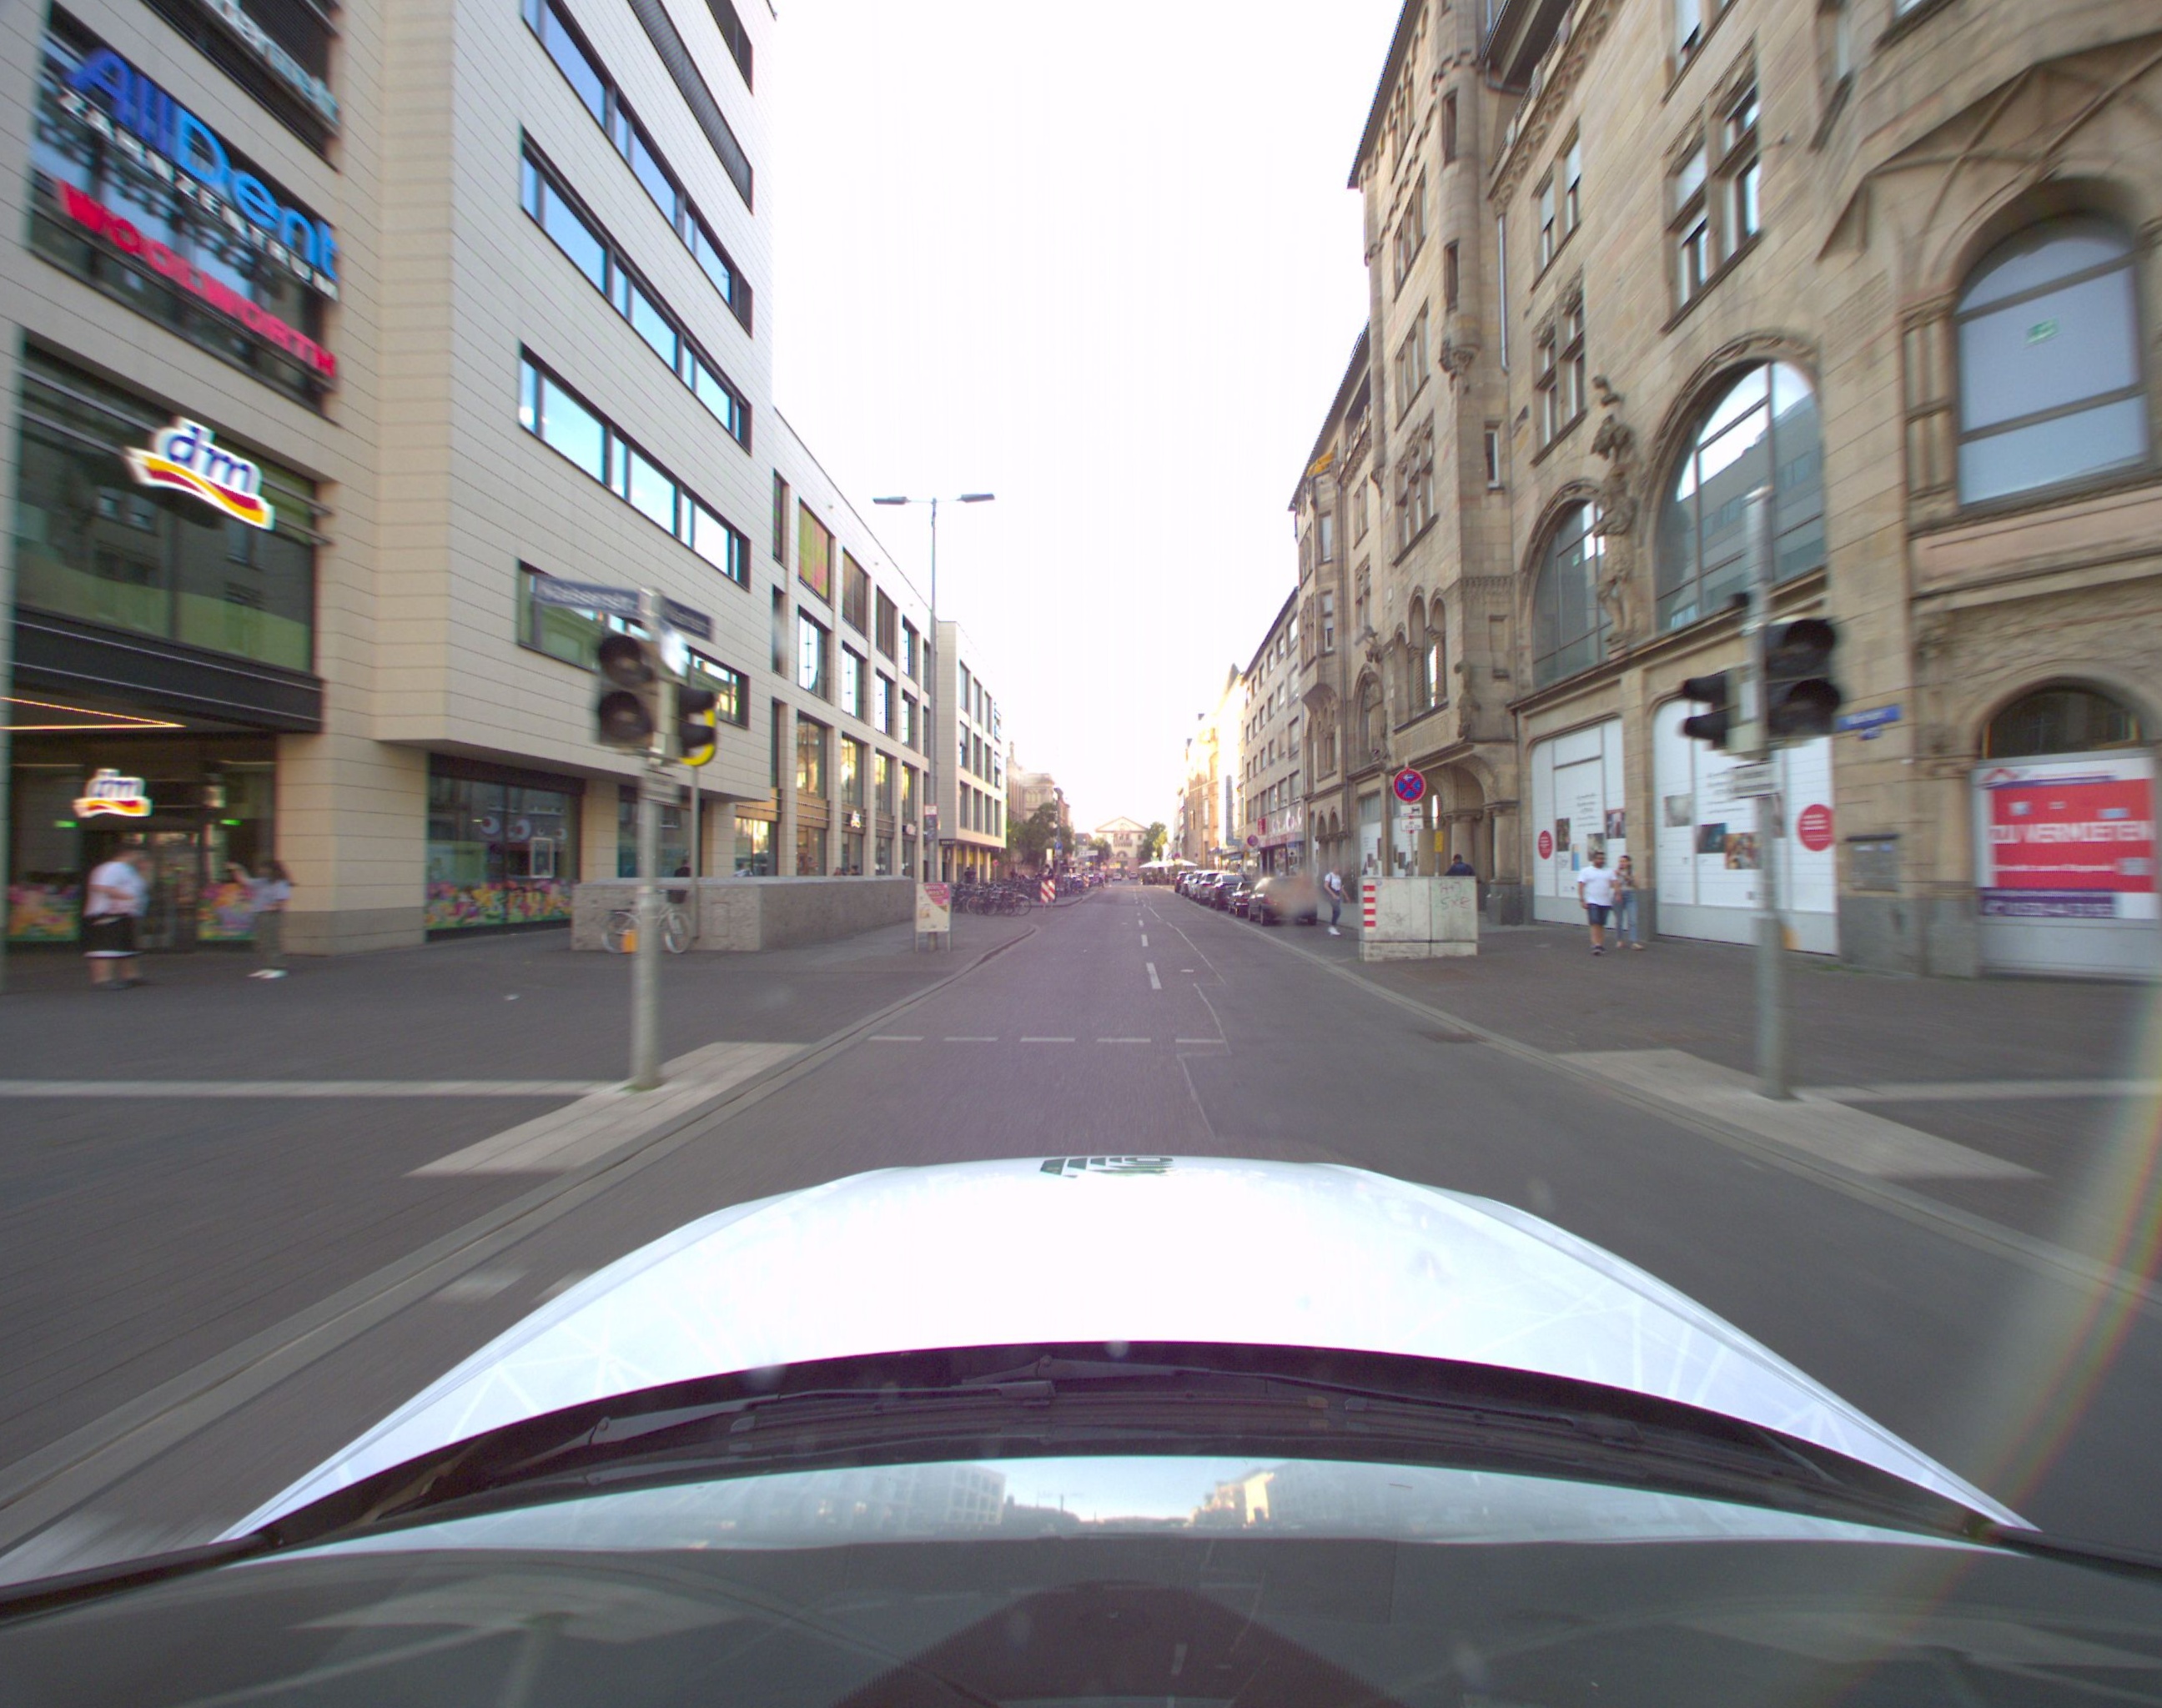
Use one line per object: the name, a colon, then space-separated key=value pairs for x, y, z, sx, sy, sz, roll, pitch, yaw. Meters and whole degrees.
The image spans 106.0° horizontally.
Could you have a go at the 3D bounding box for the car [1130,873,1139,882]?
car: x=12.041 y=5.255 z=183.188 sx=1.985 sy=1.904 sz=4.003 roll=1 pitch=-1 yaw=3

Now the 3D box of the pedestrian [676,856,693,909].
pedestrian: x=-11.554 y=0.820 z=23.733 sx=0.391 sy=1.515 sz=0.501 roll=1 pitch=-2 yaw=-24

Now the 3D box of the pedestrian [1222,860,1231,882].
pedestrian: x=11.537 y=1.357 z=64.654 sx=0.641 sy=1.746 sz=0.671 roll=0 pitch=-1 yaw=1

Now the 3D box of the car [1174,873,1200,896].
car: x=8.239 y=2.365 z=63.638 sx=1.672 sy=1.666 sz=3.675 roll=-1 pitch=-1 yaw=3

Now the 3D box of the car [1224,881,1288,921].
car: x=6.395 y=1.679 z=30.080 sx=1.672 sy=1.291 sz=4.049 roll=-1 pitch=-1 yaw=3

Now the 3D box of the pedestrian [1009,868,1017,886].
pedestrian: x=-6.113 y=2.039 z=73.231 sx=0.677 sy=1.621 sz=0.574 roll=0 pitch=-1 yaw=3

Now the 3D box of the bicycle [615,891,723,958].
bicycle: x=-7.301 y=1.239 z=14.462 sx=1.688 sy=1.122 sz=0.451 roll=1 pitch=-2 yaw=5

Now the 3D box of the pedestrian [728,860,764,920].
pedestrian: x=-10.021 y=1.062 z=24.391 sx=0.779 sy=1.751 sz=0.600 roll=1 pitch=-2 yaw=0

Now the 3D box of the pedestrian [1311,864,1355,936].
pedestrian: x=6.156 y=1.100 z=19.918 sx=0.833 sy=1.721 sz=0.681 roll=0 pitch=-1 yaw=-5

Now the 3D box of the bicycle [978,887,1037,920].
bicycle: x=-2.583 y=1.730 z=28.603 sx=1.977 sy=1.122 sz=0.553 roll=2 pitch=-2 yaw=-26

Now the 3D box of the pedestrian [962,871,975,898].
pedestrian: x=-6.816 y=1.835 z=49.377 sx=0.677 sy=1.621 sz=0.574 roll=0 pitch=-1 yaw=3

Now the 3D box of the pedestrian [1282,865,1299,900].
pedestrian: x=10.043 y=1.369 z=39.083 sx=0.641 sy=1.690 sz=0.671 roll=0 pitch=-1 yaw=1

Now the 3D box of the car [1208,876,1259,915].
car: x=6.531 y=1.748 z=35.271 sx=1.672 sy=1.547 sz=3.675 roll=-1 pitch=-1 yaw=3

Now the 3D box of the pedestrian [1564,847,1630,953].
pedestrian: x=8.445 y=0.737 z=13.347 sx=0.622 sy=1.690 sz=0.671 roll=0 pitch=-1 yaw=1

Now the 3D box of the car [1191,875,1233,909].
car: x=6.616 y=1.877 z=41.391 sx=1.672 sy=1.613 sz=4.031 roll=-1 pitch=-1 yaw=3

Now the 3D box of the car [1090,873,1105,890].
car: x=2.035 y=3.295 z=99.589 sx=1.703 sy=2.014 sz=4.003 roll=0 pitch=-1 yaw=3

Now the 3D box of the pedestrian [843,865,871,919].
pedestrian: x=-7.098 y=1.185 z=25.812 sx=0.678 sy=1.681 sz=0.600 roll=1 pitch=-2 yaw=0

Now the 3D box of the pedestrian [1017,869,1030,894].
pedestrian: x=-3.667 y=1.749 z=51.862 sx=0.748 sy=1.530 sz=0.485 roll=0 pitch=-1 yaw=2

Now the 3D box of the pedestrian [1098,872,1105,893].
pedestrian: x=1.792 y=2.501 z=71.835 sx=0.596 sy=1.823 sz=0.452 roll=0 pitch=-2 yaw=4

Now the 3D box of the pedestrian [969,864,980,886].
pedestrian: x=-8.111 y=1.574 z=61.821 sx=0.728 sy=1.621 sz=0.662 roll=0 pitch=-1 yaw=3

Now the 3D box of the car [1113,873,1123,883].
car: x=7.515 y=4.822 z=164.523 sx=1.985 sy=1.904 sz=4.003 roll=1 pitch=-1 yaw=3

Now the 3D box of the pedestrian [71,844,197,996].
pedestrian: x=-12.120 y=0.811 z=10.442 sx=0.568 sy=1.855 sz=0.819 roll=1 pitch=-2 yaw=15

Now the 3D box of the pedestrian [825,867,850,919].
pedestrian: x=-7.783 y=1.240 z=26.051 sx=0.598 sy=1.646 sz=0.546 roll=1 pitch=-2 yaw=0

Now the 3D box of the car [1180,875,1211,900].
car: x=7.633 y=2.207 z=54.460 sx=1.672 sy=1.547 sz=3.675 roll=-1 pitch=-1 yaw=3

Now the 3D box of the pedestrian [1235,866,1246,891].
pedestrian: x=11.467 y=1.756 z=58.634 sx=0.641 sy=1.800 sz=0.671 roll=0 pitch=-1 yaw=1

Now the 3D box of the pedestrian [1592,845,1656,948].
pedestrian: x=9.122 y=0.703 z=13.700 sx=0.622 sy=1.690 sz=0.626 roll=0 pitch=-1 yaw=1

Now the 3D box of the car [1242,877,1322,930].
car: x=6.046 y=1.456 z=24.873 sx=1.672 sy=1.424 sz=3.675 roll=-1 pitch=-1 yaw=3

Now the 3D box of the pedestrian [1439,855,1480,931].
pedestrian: x=8.593 y=0.884 z=18.507 sx=0.622 sy=1.690 sz=0.671 roll=0 pitch=-1 yaw=1

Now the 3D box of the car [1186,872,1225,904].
car: x=7.181 y=1.939 z=47.343 sx=1.792 sy=1.768 sz=4.401 roll=-1 pitch=-1 yaw=3

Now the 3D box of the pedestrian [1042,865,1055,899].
pedestrian: x=-1.739 y=1.530 z=44.064 sx=0.656 sy=1.823 sz=0.527 roll=0 pitch=-2 yaw=-7

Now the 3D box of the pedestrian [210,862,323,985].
pedestrian: x=-11.609 y=0.961 z=11.627 sx=0.760 sy=1.660 sz=0.820 roll=1 pitch=-2 yaw=17
